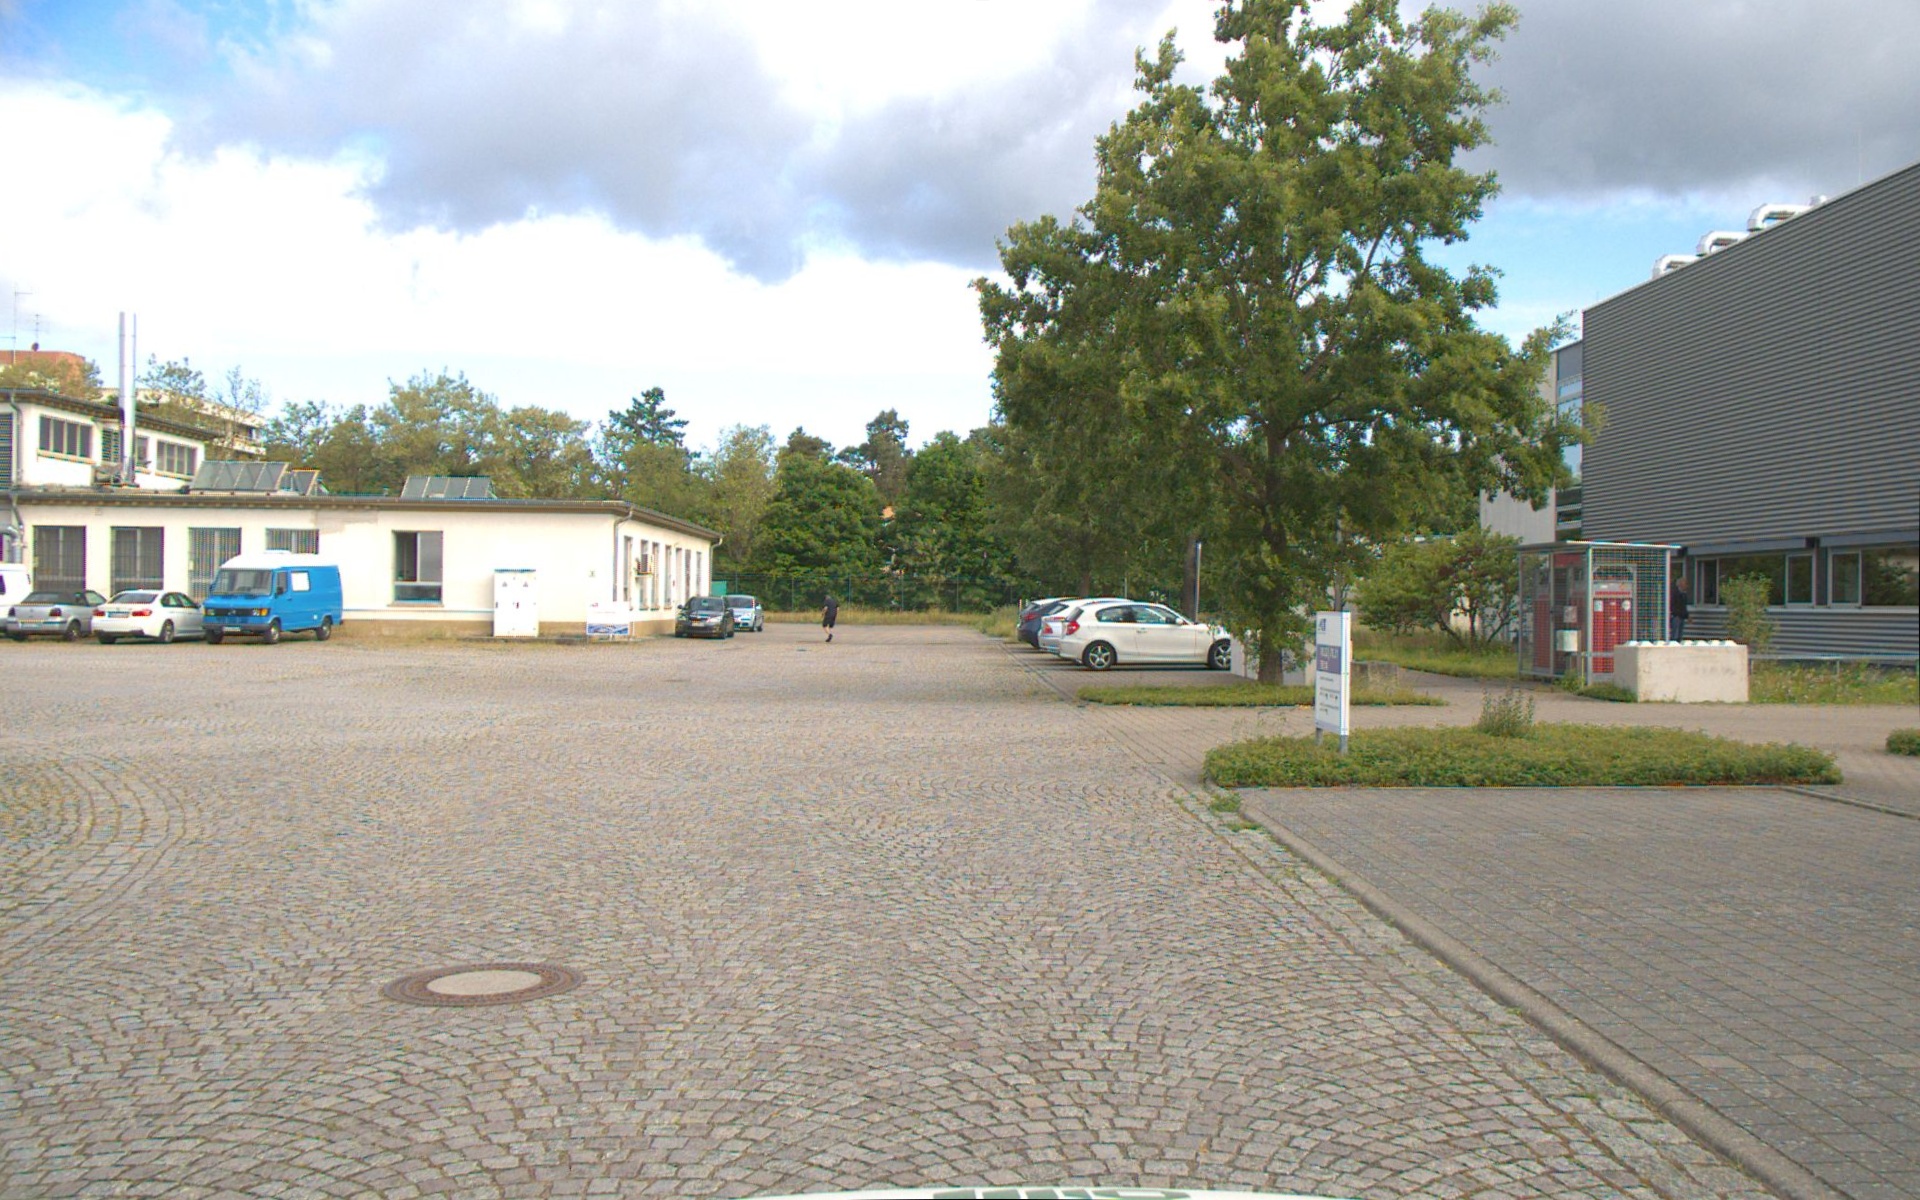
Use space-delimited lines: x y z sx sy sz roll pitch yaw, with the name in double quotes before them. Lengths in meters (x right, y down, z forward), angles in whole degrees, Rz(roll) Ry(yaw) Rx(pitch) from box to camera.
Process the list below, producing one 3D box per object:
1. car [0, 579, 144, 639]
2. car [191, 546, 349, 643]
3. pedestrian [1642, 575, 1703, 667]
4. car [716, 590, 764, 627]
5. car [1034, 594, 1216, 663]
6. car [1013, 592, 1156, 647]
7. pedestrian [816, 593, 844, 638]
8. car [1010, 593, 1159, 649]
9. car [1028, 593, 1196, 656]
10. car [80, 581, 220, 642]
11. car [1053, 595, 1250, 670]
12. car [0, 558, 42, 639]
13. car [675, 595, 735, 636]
"car" -24.841 0.236 46.437 1.862 1.602 4.000 0 0 0
"car" -19.428 -0.147 46.880 1.952 2.567 5.619 0 0 2
"pedestrian" 15.403 0.453 35.756 0.908 1.970 0.846 1 -1 -32
"car" -9.141 0.351 68.975 1.714 1.480 3.997 0 0 -4
"car" 3.671 0.630 37.275 3.906 1.481 1.697 0 0 -1
"car" 3.619 0.570 48.435 3.909 1.560 1.998 0 0 -5
"pedestrian" -4.603 0.554 58.823 0.920 1.596 0.971 0 0 -1
"car" 3.372 0.568 45.213 3.906 1.481 1.769 0 0 -1
"car" 3.659 0.591 40.316 3.906 1.481 1.769 0 0 -1
"car" -22.208 0.315 45.527 1.862 1.602 4.000 0 0 0
"car" 4.009 0.685 35.115 3.906 1.481 1.999 1 -1 -1
"car" -27.784 -0.046 45.878 1.861 2.245 4.783 0 0 1
"car" -9.026 0.530 58.744 1.714 1.388 3.997 0 0 -4
